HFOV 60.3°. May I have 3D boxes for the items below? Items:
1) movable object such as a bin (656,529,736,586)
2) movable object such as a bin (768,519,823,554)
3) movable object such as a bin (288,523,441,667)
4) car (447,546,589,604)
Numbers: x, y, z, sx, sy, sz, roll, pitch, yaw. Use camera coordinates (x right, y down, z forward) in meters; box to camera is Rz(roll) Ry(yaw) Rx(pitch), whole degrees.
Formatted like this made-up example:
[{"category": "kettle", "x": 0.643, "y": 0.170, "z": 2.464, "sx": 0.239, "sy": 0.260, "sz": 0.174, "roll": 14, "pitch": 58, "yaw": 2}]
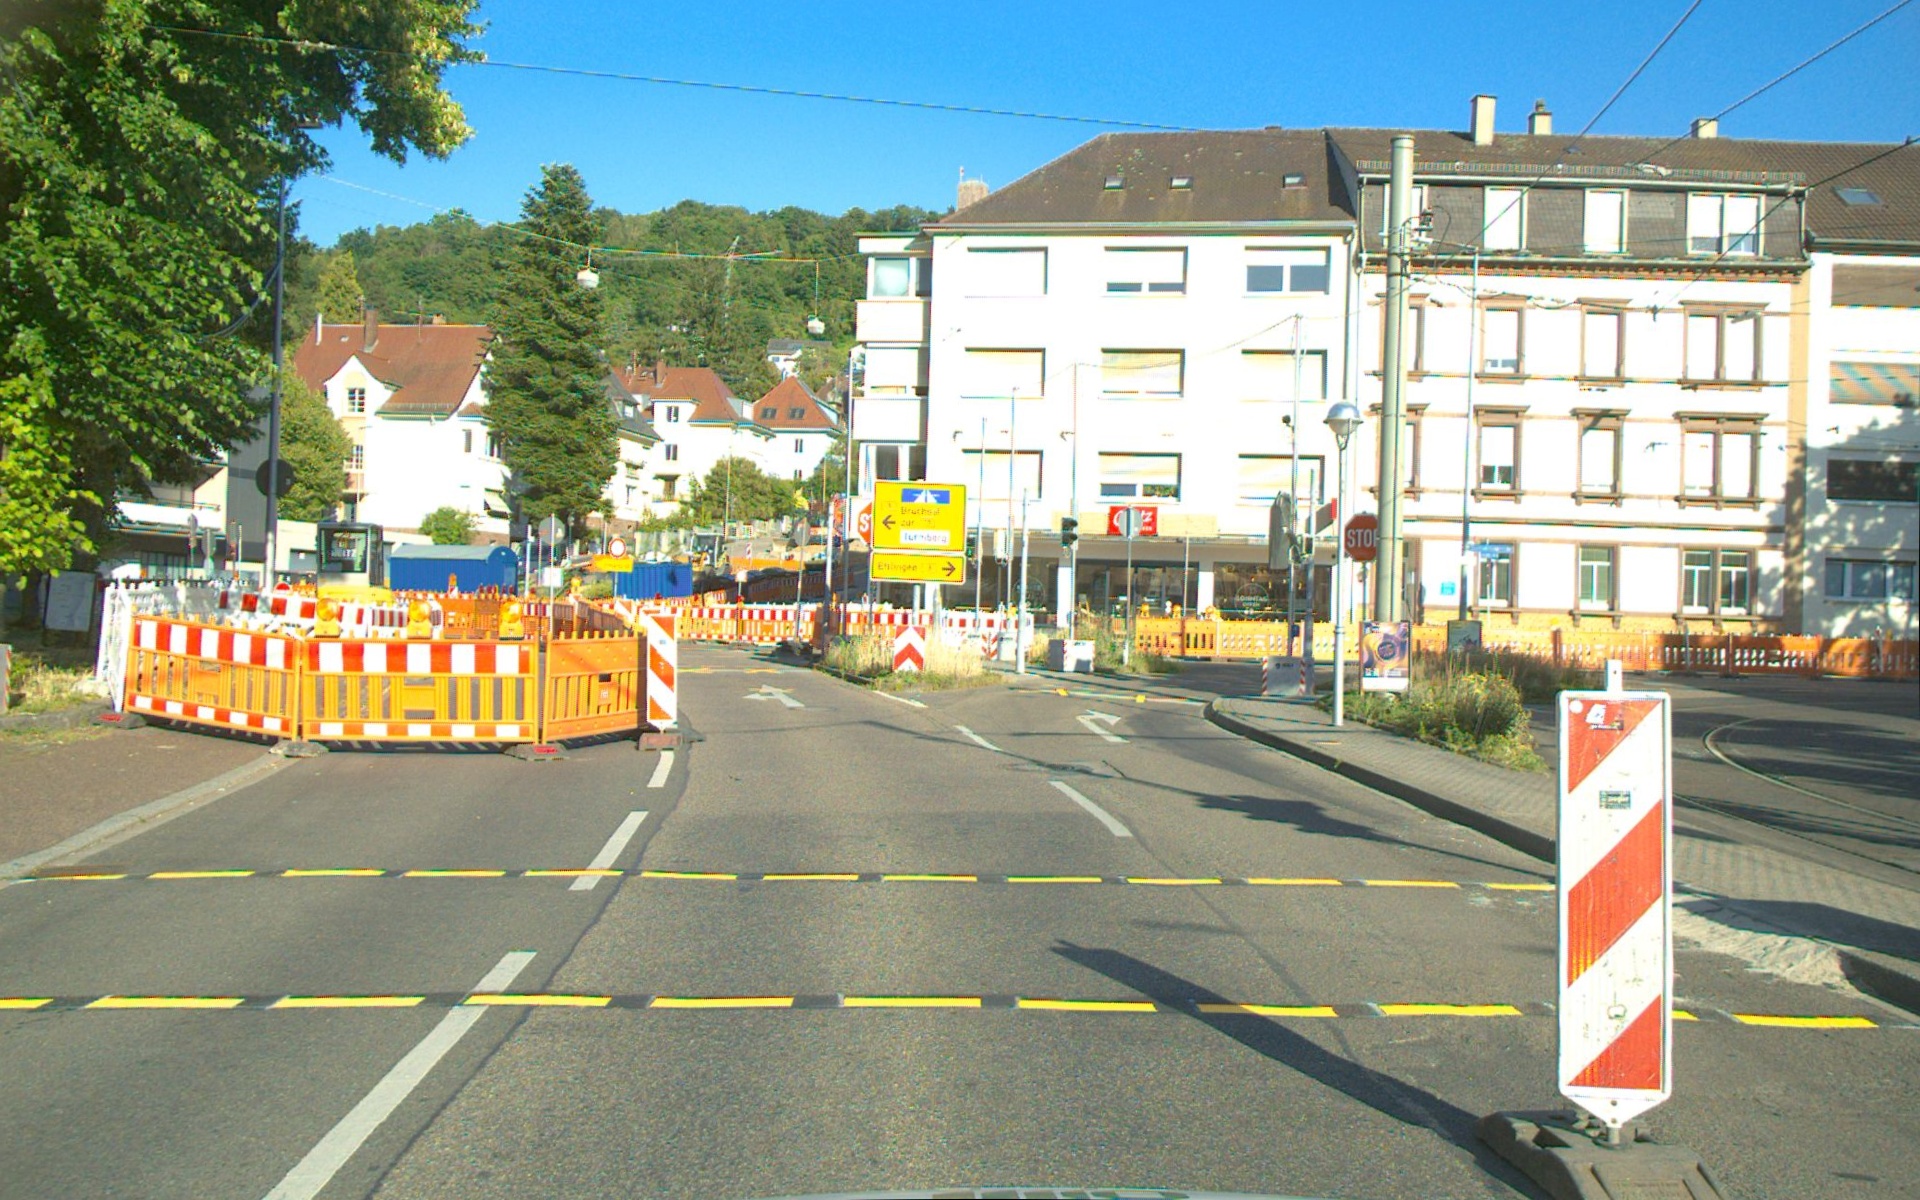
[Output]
[{"category": "movable object such as a bin", "x": -12.530, "y": -2.002, "z": 78.782, "sx": 1.907, "sy": 2.538, "sz": 4.554, "roll": 1, "pitch": 0, "yaw": 17}, {"category": "movable object such as a bin", "x": -11.371, "y": -4.387, "z": 114.733, "sx": 2.510, "sy": 2.159, "sz": 5.789, "roll": 1, "pitch": 0, "yaw": 8}, {"category": "movable object such as a bin", "x": -10.460, "y": -0.095, "z": 29.331, "sx": 1.615, "sy": 2.365, "sz": 3.916, "roll": 1, "pitch": 0, "yaw": -6}, {"category": "car", "x": -17.497, "y": -0.941, "z": 65.874, "sx": 2.529, "sy": 2.158, "sz": 6.154, "roll": 1, "pitch": 0, "yaw": 17}]
